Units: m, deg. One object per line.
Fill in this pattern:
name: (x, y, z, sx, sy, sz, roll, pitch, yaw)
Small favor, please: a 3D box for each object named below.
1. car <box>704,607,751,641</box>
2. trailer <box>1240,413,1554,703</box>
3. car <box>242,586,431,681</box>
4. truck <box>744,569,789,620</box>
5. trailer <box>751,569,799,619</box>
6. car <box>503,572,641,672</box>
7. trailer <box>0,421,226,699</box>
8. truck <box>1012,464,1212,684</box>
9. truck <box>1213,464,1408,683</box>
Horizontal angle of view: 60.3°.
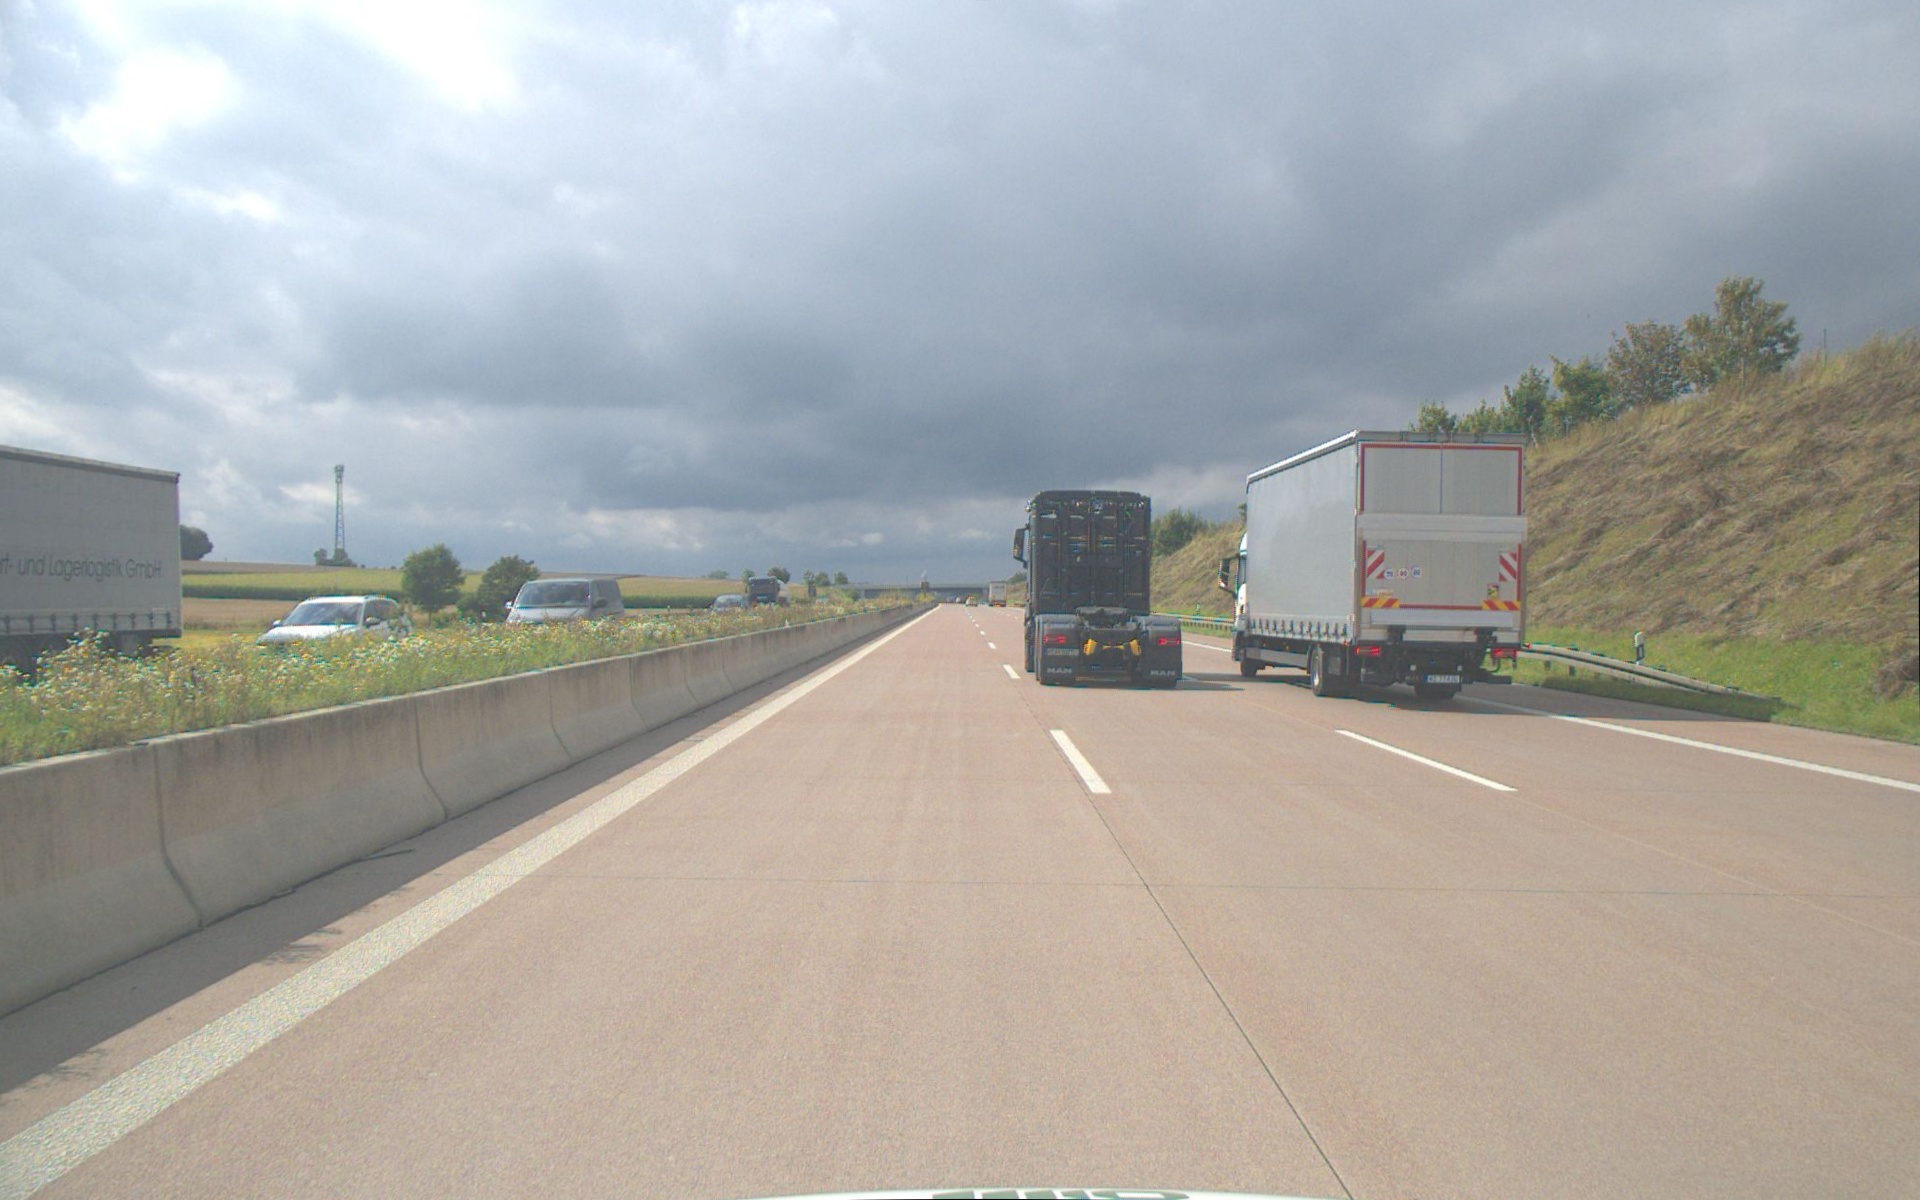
car: (-12.605, 1.269, 89.756, 1.953, 1.729, 4.255, -1, 0, -1)
trailer: (6.965, -0.584, 27.915, 2.692, 4.082, 8.667, 1, 0, -2)
car: (-12.107, 0.612, 32.488, 1.953, 1.686, 4.783, -1, 0, -1)
truck: (-16.312, -0.465, 139.594, 2.832, 4.170, 6.335, -2, 0, 1)
trailer: (-16.256, -0.507, 145.939, 2.832, 4.170, 11.037, -2, 0, 0)
car: (-8.685, 0.467, 37.505, 1.953, 2.049, 5.245, -2, 0, -1)
trailer: (-15.925, -0.644, 25.421, 3.142, 4.170, 13.259, 2, 0, 1)
truck: (2.668, -0.416, 31.705, 2.790, 3.612, 8.316, 1, 0, -2)
truck: (6.788, -0.499, 32.628, 2.693, 3.960, 4.544, 1, 0, -2)
